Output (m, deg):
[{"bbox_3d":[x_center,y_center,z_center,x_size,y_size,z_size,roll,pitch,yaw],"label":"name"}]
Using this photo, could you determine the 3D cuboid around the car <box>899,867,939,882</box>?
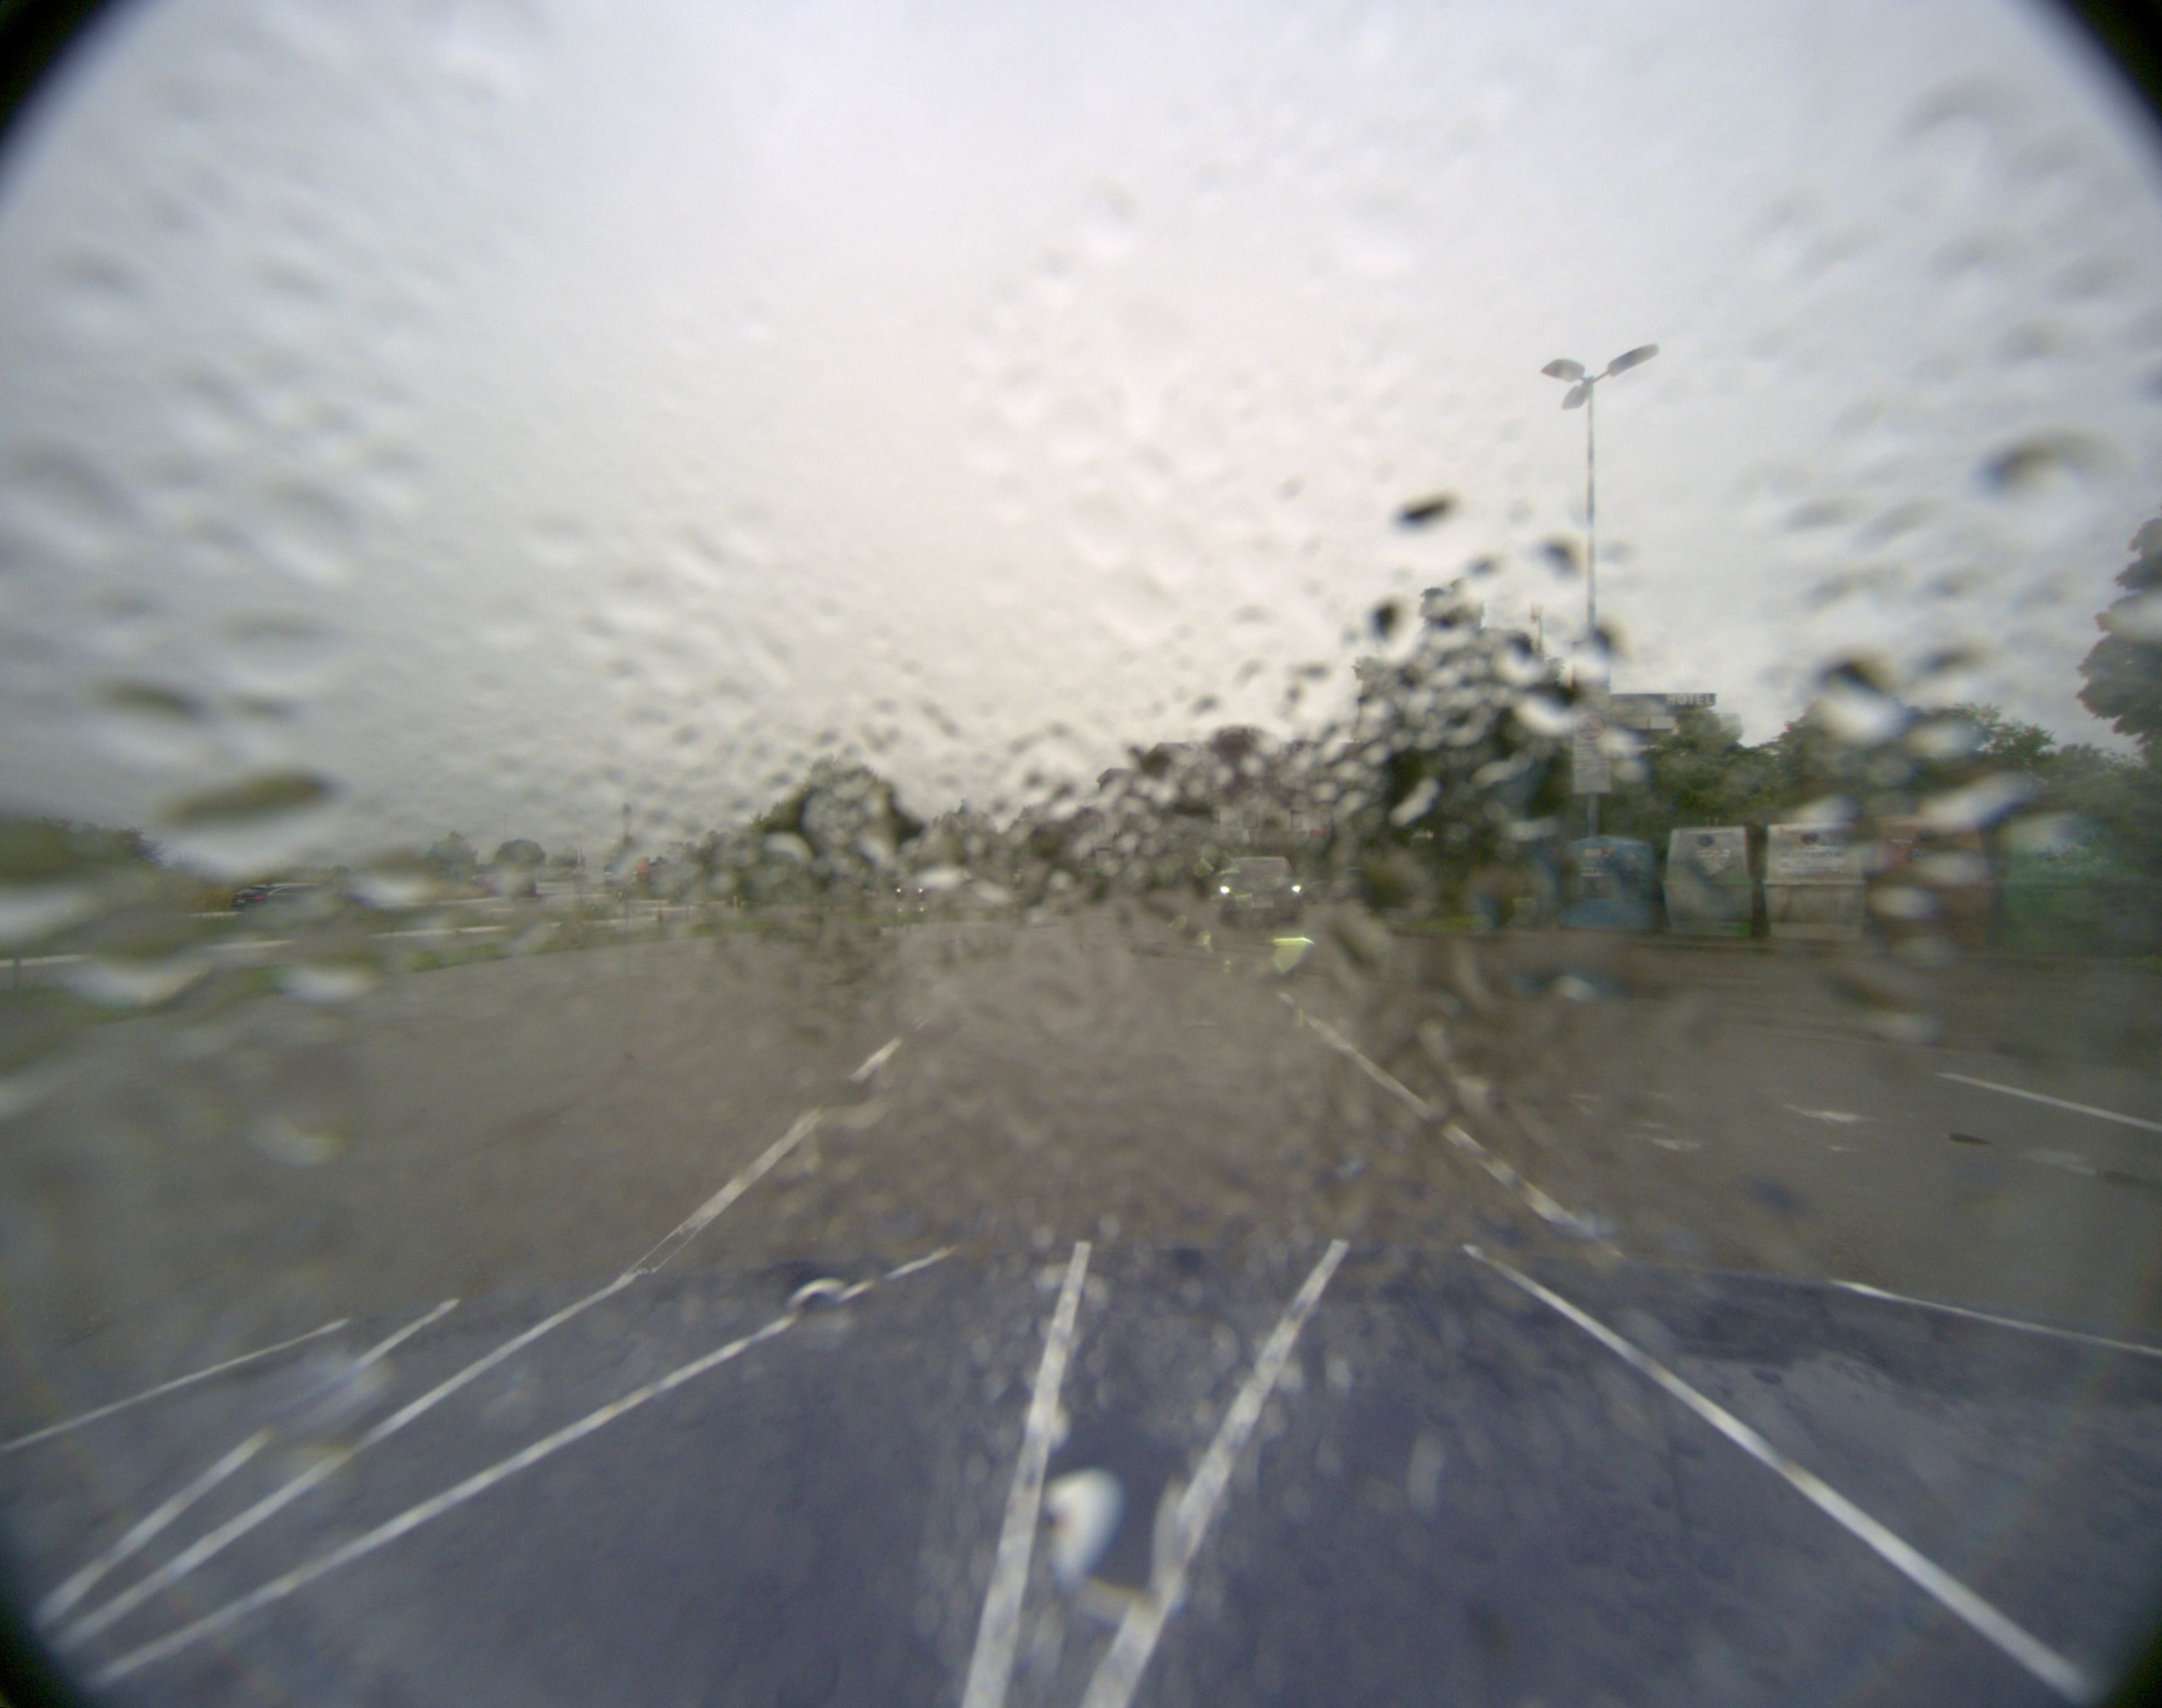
[{"bbox_3d":[-18.372,2.323,86.130,4.636,1.541,2.004,-3,-1,41],"label":"car"}]

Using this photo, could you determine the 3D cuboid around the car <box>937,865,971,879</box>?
[{"bbox_3d":[-15.076,2.171,90.036,3.878,1.560,1.753,-3,-1,38],"label":"car"}]

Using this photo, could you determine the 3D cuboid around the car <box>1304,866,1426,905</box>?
[{"bbox_3d":[11.259,1.224,30.427,1.873,1.440,4.319,0,-1,-32],"label":"car"}]

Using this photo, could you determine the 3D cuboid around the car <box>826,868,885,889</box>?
[{"bbox_3d":[-20.131,2.186,67.916,4.607,1.711,2.000,-2,-1,-2],"label":"car"}]

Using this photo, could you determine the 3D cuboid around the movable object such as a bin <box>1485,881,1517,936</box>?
[{"bbox_3d":[7.486,0.960,13.565,0.434,0.943,0.474,-2,0,25],"label":"movable object such as a bin"}]

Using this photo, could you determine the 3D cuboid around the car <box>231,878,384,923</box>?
[{"bbox_3d":[-34.759,2.044,34.363,1.890,1.674,4.672,1,1,7],"label":"car"}]

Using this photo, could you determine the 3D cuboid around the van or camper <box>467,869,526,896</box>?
[{"bbox_3d":[-48.129,2.306,62.539,4.834,2.001,2.004,1,0,28],"label":"van or camper"}]

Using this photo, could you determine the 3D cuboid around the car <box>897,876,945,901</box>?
[{"bbox_3d":[-9.699,2.084,46.415,1.704,1.416,4.363,-2,-2,4],"label":"car"}]

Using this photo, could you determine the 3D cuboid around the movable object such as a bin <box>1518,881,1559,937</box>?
[{"bbox_3d":[7.932,0.947,13.190,0.405,0.943,0.450,-2,0,1],"label":"movable object such as a bin"}]

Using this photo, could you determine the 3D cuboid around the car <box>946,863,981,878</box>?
[{"bbox_3d":[-14.259,1.987,92.166,3.989,1.717,1.994,-3,-1,37],"label":"car"}]

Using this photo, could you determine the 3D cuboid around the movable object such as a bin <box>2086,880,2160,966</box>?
[{"bbox_3d":[11.696,0.759,8.538,0.510,0.917,0.437,0,-1,-39],"label":"movable object such as a bin"}]

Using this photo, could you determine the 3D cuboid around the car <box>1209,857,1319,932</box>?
[{"bbox_3d":[4.571,0.896,18.494,1.995,1.565,4.507,-2,-1,21],"label":"car"}]

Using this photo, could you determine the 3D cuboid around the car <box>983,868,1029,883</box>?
[{"bbox_3d":[-7.279,2.097,74.395,4.358,1.416,1.850,-1,-1,-3],"label":"car"}]

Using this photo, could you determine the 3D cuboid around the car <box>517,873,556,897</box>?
[{"bbox_3d":[-38.917,2.186,54.358,2.003,1.593,4.513,-2,0,-33],"label":"car"}]

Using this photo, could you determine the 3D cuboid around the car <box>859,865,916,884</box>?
[{"bbox_3d":[-19.945,2.144,78.422,5.374,1.711,2.000,-2,-1,-2],"label":"car"}]

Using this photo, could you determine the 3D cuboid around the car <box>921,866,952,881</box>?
[{"bbox_3d":[-16.832,2.289,88.306,3.716,1.540,1.670,-3,-1,43],"label":"car"}]
